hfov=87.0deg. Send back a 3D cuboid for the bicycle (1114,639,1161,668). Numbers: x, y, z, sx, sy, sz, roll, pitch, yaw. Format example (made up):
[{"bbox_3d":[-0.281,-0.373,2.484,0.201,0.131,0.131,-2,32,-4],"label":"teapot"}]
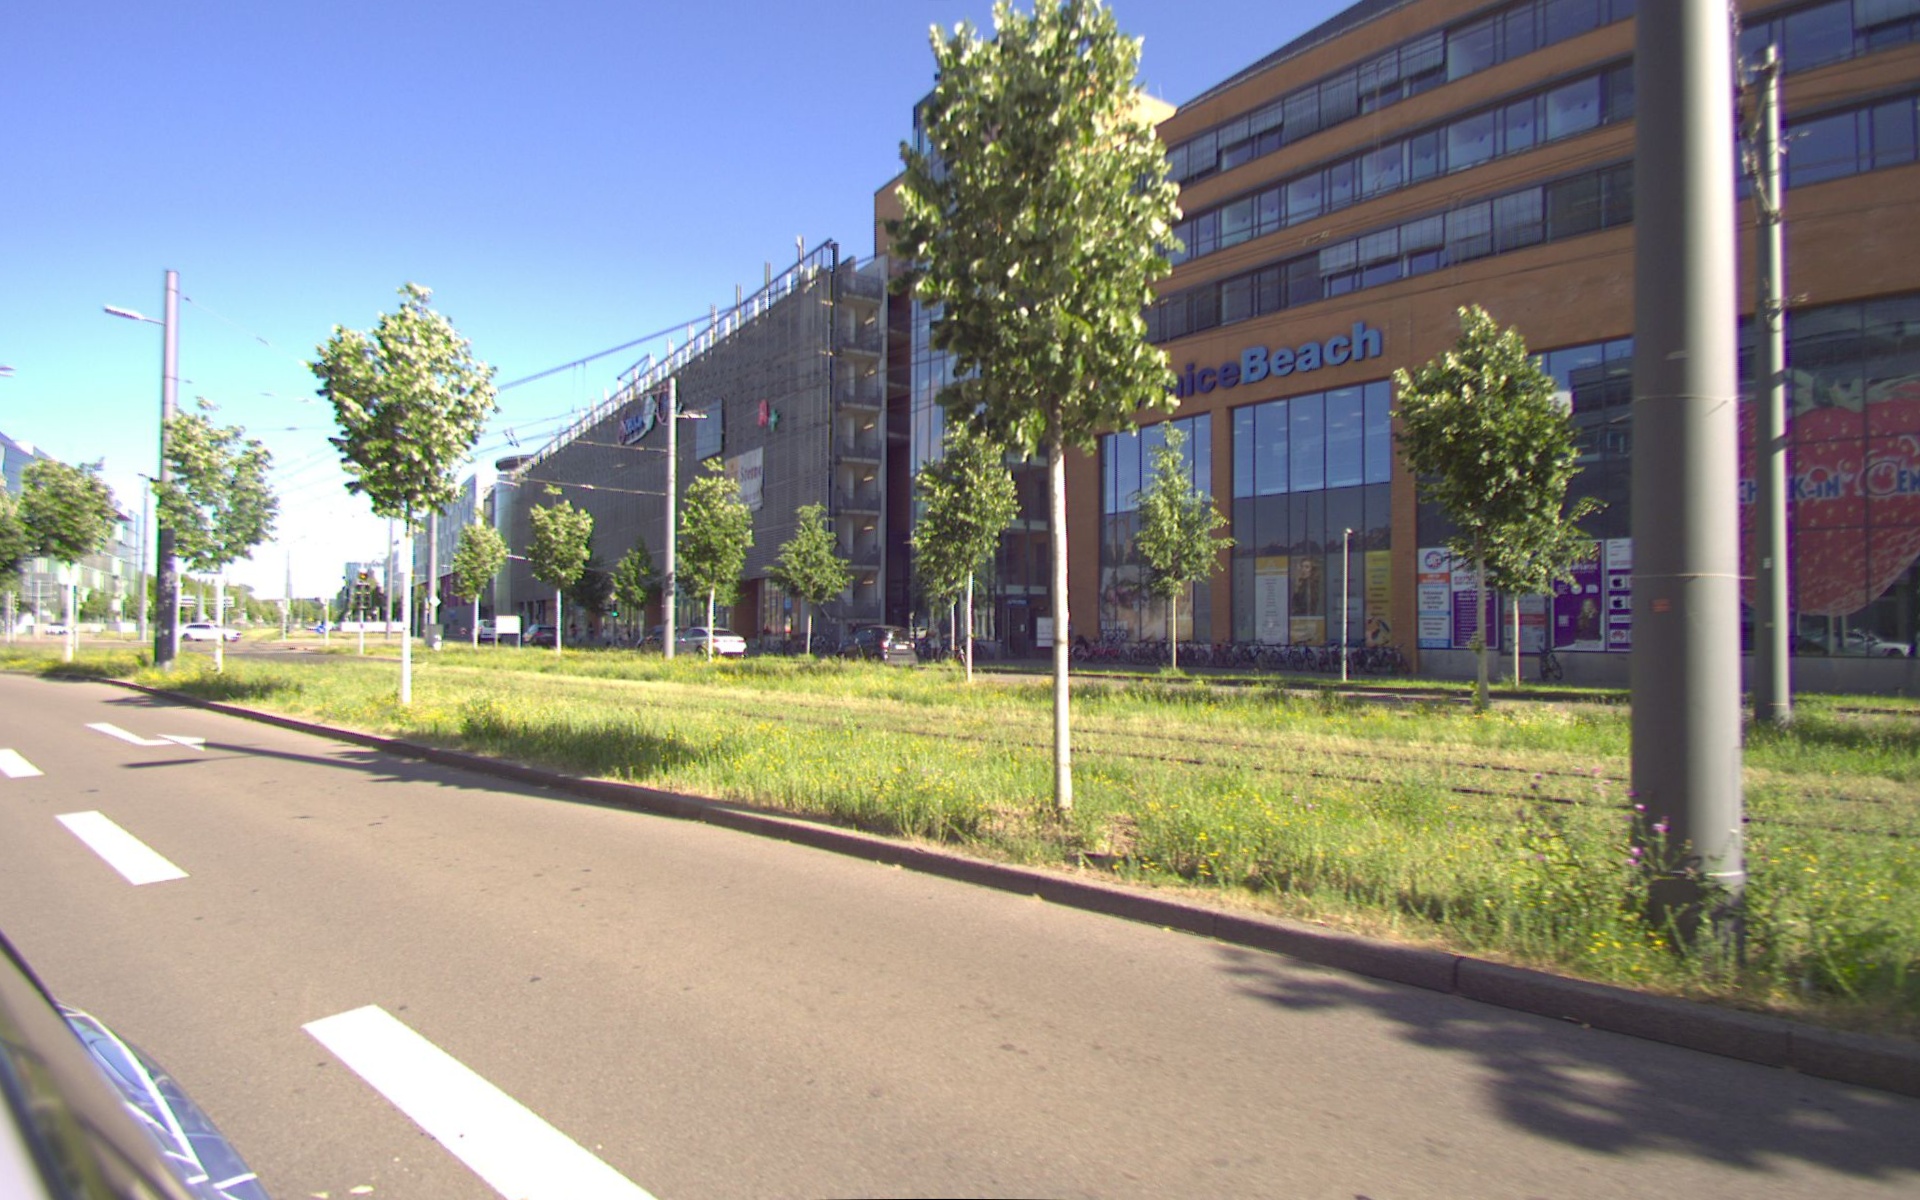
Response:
[{"bbox_3d":[7.418,2.217,42.231,2.146,1.132,0.754,0,-1,-41],"label":"bicycle"}]

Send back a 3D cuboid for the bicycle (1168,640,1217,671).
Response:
[{"bbox_3d":[9.158,2.166,39.808,2.146,1.132,0.754,0,-1,-41],"label":"bicycle"}]

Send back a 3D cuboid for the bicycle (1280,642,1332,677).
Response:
[{"bbox_3d":[12.261,2.087,35.810,2.146,1.132,0.754,0,-1,-41],"label":"bicycle"}]

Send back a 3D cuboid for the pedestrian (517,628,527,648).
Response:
[{"bbox_3d":[-38.121,3.327,88.052,0.624,1.765,0.582,-1,-2,36],"label":"pedestrian"}]

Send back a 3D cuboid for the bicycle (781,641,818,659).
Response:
[{"bbox_3d":[-9.132,2.859,57.727,2.146,0.962,0.493,0,-1,-41],"label":"bicycle"}]

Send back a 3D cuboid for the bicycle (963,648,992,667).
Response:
[{"bbox_3d":[0.807,2.643,46.806,1.428,0.825,0.446,0,-1,-41],"label":"bicycle"}]

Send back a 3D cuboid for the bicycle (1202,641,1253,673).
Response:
[{"bbox_3d":[10.116,2.149,38.246,2.146,1.132,0.754,0,-1,-41],"label":"bicycle"}]

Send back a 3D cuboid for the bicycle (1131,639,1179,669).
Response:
[{"bbox_3d":[7.990,2.204,41.392,2.146,1.132,0.754,0,-1,-41],"label":"bicycle"}]

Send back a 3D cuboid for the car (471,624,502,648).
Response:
[{"bbox_3d":[-41.336,3.149,88.293,2.189,2.029,5.272,1,-2,-28],"label":"car"}]

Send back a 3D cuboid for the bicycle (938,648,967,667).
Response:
[{"bbox_3d":[-0.347,2.734,48.131,1.428,0.825,0.446,0,-1,-41],"label":"bicycle"}]

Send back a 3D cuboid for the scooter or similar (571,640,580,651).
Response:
[{"bbox_3d":[-30.817,3.637,81.163,0.296,0.857,1.229,2,-2,-38],"label":"scooter or similar"}]

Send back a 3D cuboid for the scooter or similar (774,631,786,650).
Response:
[{"bbox_3d":[-11.366,2.558,64.020,0.272,1.111,1.209,2,-1,-33],"label":"scooter or similar"}]

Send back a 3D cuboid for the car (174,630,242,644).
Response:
[{"bbox_3d":[-60.519,2.971,81.484,3.932,1.098,2.006,1,-2,-16],"label":"car"}]

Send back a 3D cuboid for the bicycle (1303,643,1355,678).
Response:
[{"bbox_3d":[12.776,2.069,35.008,2.146,1.132,0.754,0,-1,-41],"label":"bicycle"}]

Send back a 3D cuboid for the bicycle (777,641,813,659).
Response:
[{"bbox_3d":[-9.485,2.869,58.187,2.146,0.962,0.493,0,-1,-41],"label":"bicycle"}]

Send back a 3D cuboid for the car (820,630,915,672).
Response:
[{"bbox_3d":[-3.186,1.704,34.579,3.295,1.370,1.413,-1,-2,43],"label":"car"}]

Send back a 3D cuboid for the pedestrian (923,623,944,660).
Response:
[{"bbox_3d":[-1.236,1.929,46.753,0.778,1.698,0.589,-1,-2,41],"label":"pedestrian"}]

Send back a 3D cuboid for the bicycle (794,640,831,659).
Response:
[{"bbox_3d":[-8.296,2.765,56.851,2.146,0.962,0.493,0,-1,-41],"label":"bicycle"}]

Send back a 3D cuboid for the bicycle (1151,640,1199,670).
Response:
[{"bbox_3d":[8.621,2.198,40.561,2.146,1.132,0.754,0,-1,-41],"label":"bicycle"}]

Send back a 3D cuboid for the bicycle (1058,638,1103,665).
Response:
[{"bbox_3d":[5.421,2.303,45.435,2.146,1.132,0.754,0,-1,-41],"label":"bicycle"}]

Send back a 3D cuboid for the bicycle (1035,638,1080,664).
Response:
[{"bbox_3d":[4.469,2.307,46.229,2.146,1.132,0.754,0,-1,-41],"label":"bicycle"}]

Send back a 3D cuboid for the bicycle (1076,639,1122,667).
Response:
[{"bbox_3d":[6.122,2.326,44.506,2.146,1.132,0.754,0,-1,-41],"label":"bicycle"}]

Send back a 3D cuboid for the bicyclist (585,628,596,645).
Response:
[{"bbox_3d":[-31.752,3.134,86.870,0.584,1.418,1.316,1,-2,-34],"label":"bicyclist"}]

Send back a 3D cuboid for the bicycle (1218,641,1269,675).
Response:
[{"bbox_3d":[10.490,2.128,37.430,2.146,1.132,0.754,0,-1,-41],"label":"bicycle"}]

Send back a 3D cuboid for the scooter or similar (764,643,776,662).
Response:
[{"bbox_3d":[-11.918,3.298,63.534,0.272,1.111,1.209,2,-1,-33],"label":"scooter or similar"}]

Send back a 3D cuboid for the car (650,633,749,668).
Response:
[{"bbox_3d":[-11.057,2.087,42.758,1.970,1.344,4.793,2,-2,-44],"label":"car"}]

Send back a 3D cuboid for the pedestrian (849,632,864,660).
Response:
[{"bbox_3d":[-5.878,2.607,57.214,0.626,1.565,0.663,1,-2,-29],"label":"pedestrian"}]

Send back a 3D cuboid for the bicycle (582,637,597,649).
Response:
[{"bbox_3d":[-31.880,3.713,87.020,0.588,1.018,2.575,1,-2,-34],"label":"bicycle"}]

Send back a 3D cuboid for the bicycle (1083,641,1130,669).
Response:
[{"bbox_3d":[6.309,2.364,43.545,2.146,1.132,0.754,0,-1,-41],"label":"bicycle"}]

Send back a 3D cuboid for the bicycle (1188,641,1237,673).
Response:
[{"bbox_3d":[9.765,2.187,39.122,2.146,1.132,0.754,0,-1,-41],"label":"bicycle"}]

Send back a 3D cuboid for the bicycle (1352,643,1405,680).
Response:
[{"bbox_3d":[13.891,2.027,33.562,2.146,1.132,0.754,0,-1,-41],"label":"bicycle"}]

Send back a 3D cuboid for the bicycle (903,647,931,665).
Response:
[{"bbox_3d":[-2.114,2.760,50.055,1.428,0.825,0.446,0,-1,-41],"label":"bicycle"}]

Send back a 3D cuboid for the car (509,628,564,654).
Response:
[{"bbox_3d":[-29.107,2.802,69.493,1.970,1.694,4.541,2,-2,-45],"label":"car"}]

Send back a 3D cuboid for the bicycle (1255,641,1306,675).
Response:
[{"bbox_3d":[11.597,2.097,36.587,2.146,1.132,0.754,0,-1,-41],"label":"bicycle"}]

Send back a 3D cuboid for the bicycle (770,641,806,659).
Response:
[{"bbox_3d":[-9.949,2.862,58.598,2.146,0.962,0.493,0,-1,-41],"label":"bicycle"}]

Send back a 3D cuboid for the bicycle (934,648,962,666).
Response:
[{"bbox_3d":[-0.567,2.742,48.652,1.428,0.825,0.446,0,-1,-41],"label":"bicycle"}]
